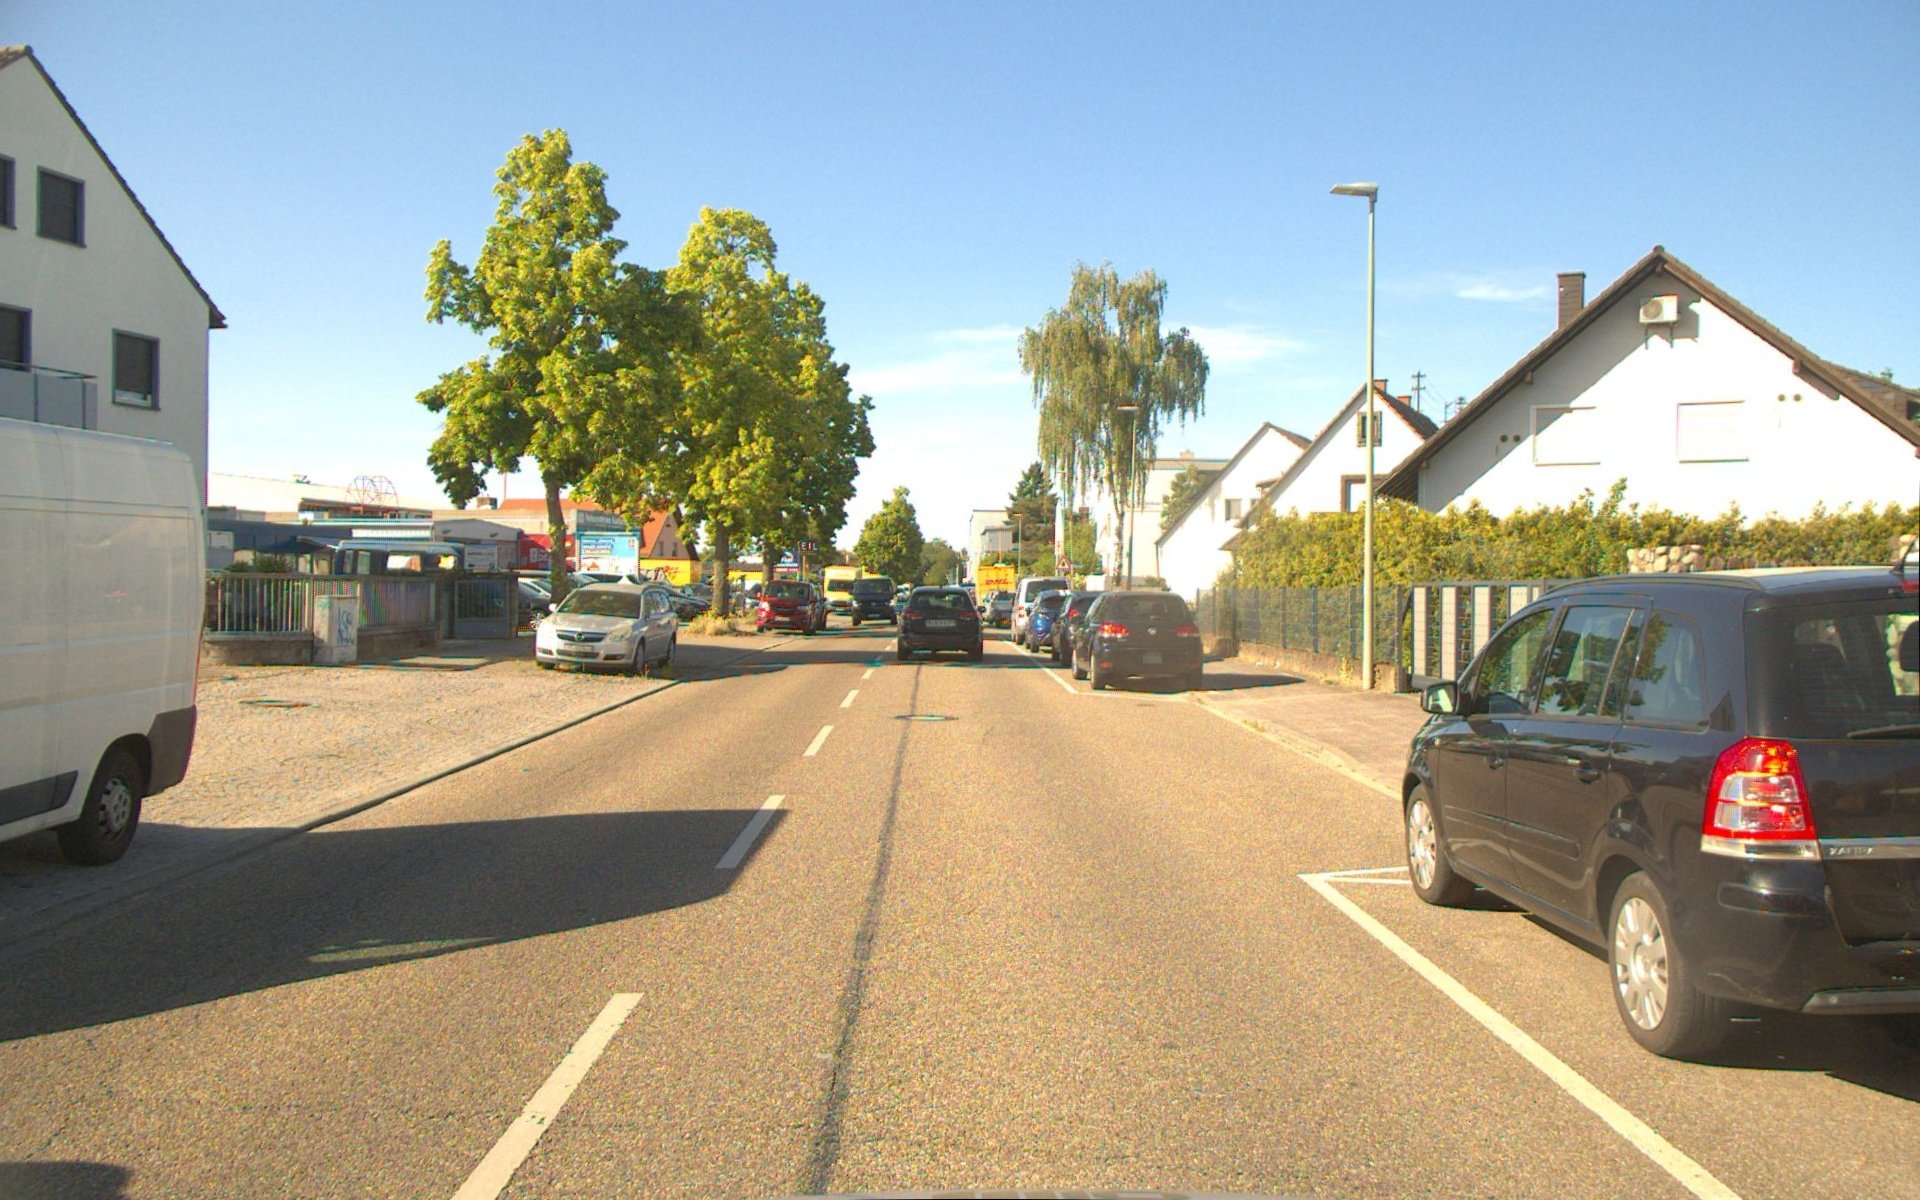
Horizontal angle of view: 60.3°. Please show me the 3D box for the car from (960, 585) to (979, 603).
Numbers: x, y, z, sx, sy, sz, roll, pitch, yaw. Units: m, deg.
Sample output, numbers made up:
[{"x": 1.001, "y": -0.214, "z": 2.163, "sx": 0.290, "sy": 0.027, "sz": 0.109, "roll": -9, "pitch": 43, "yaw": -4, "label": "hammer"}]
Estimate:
[{"x": 0.988, "y": -0.622, "z": 172.802, "sx": 1.880, "sy": 1.857, "sz": 4.079, "roll": 1, "pitch": 0, "yaw": -1, "label": "car"}]

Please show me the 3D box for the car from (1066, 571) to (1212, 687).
[{"x": 2.783, "y": 0.410, "z": 26.419, "sx": 1.740, "sy": 1.688, "sz": 3.814, "roll": 1, "pitch": 0, "yaw": -2, "label": "car"}]

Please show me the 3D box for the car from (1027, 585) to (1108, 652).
[{"x": 2.575, "y": 0.417, "z": 40.293, "sx": 1.684, "sy": 1.531, "sz": 3.563, "roll": 1, "pitch": 0, "yaw": 0, "label": "car"}]

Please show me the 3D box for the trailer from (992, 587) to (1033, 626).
[{"x": 2.146, "y": 0.265, "z": 68.415, "sx": 1.594, "sy": 1.565, "sz": 3.198, "roll": 1, "pitch": 0, "yaw": 0, "label": "trailer"}]

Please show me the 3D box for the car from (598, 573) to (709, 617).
[{"x": -12.608, "y": -0.195, "z": 68.081, "sx": 4.159, "sy": 1.759, "sz": 1.767, "roll": 0, "pitch": 0, "yaw": 5, "label": "car"}]

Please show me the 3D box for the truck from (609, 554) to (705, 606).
[{"x": -19.835, "y": -1.304, "z": 108.310, "sx": 5.548, "sy": 3.174, "sz": 2.525, "roll": 2, "pitch": 0, "yaw": 10, "label": "truck"}]

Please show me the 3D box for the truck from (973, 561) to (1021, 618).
[{"x": 2.014, "y": -0.587, "z": 92.527, "sx": 2.354, "sy": 2.988, "sz": 7.015, "roll": -2, "pitch": 0, "yaw": -1, "label": "truck"}]

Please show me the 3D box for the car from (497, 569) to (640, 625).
[{"x": -12.627, "y": -0.097, "z": 53.531, "sx": 4.160, "sy": 1.783, "sz": 1.766, "roll": 0, "pitch": 0, "yaw": 2, "label": "car"}]

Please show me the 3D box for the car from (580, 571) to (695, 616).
[{"x": -12.819, "y": -0.255, "z": 65.935, "sx": 4.159, "sy": 1.759, "sz": 1.767, "roll": 0, "pitch": 0, "yaw": 5, "label": "car"}]

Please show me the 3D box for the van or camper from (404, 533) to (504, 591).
[{"x": -25.007, "y": -1.828, "z": 82.091, "sx": 2.118, "sy": 2.762, "sz": 6.275, "roll": 1, "pitch": 0, "yaw": 10, "label": "van or camper"}]

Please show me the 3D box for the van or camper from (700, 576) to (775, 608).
[{"x": -14.449, "y": -0.542, "z": 107.637, "sx": 4.447, "sy": 2.049, "sz": 2.252, "roll": 0, "pitch": 0, "yaw": 6, "label": "van or camper"}]

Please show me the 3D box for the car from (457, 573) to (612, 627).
[{"x": -12.766, "y": -0.020, "z": 49.727, "sx": 4.159, "sy": 1.568, "sz": 1.767, "roll": 0, "pitch": 1, "yaw": 4, "label": "car"}]

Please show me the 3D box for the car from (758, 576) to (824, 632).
[{"x": -5.742, "y": 0.127, "z": 56.587, "sx": 1.767, "sy": 1.783, "sz": 4.341, "roll": 2, "pitch": 0, "yaw": 0, "label": "car"}]

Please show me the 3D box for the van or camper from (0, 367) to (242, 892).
[{"x": -5.644, "y": 0.097, "z": 7.767, "sx": 2.080, "sy": 2.533, "sz": 5.554, "roll": 4, "pitch": 0, "yaw": -1, "label": "van or camper"}]

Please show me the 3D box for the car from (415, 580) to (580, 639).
[{"x": -13.170, "y": 0.271, "z": 47.231, "sx": 4.159, "sy": 1.569, "sz": 1.767, "roll": 1, "pitch": 0, "yaw": 5, "label": "car"}]

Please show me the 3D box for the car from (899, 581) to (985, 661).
[{"x": -0.334, "y": 0.395, "z": 34.192, "sx": 1.676, "sy": 1.559, "sz": 3.687, "roll": 0, "pitch": 1, "yaw": 0, "label": "car"}]

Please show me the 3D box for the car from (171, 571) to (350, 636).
[{"x": -17.722, "y": 0.100, "z": 41.949, "sx": 3.897, "sy": 1.607, "sz": 1.680, "roll": 0, "pitch": -2, "yaw": 12, "label": "car"}]

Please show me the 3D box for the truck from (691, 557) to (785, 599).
[{"x": -14.831, "y": -1.450, "z": 110.566, "sx": 5.795, "sy": 2.612, "sz": 2.226, "roll": 2, "pitch": 0, "yaw": 11, "label": "truck"}]

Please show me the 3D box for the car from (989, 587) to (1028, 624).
[{"x": 2.193, "y": 0.208, "z": 73.971, "sx": 1.639, "sy": 1.569, "sz": 4.044, "roll": 1, "pitch": 0, "yaw": 3, "label": "car"}]

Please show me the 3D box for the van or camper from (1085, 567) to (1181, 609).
[{"x": 10.933, "y": -0.733, "z": 104.620, "sx": 5.743, "sy": 2.586, "sz": 2.270, "roll": 0, "pitch": 0, "yaw": -27, "label": "van or camper"}]

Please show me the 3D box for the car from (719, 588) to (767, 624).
[{"x": -10.427, "y": 0.297, "z": 79.769, "sx": 1.824, "sy": 1.618, "sz": 4.274, "roll": 1, "pitch": -2, "yaw": -1, "label": "car"}]

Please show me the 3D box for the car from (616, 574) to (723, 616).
[{"x": -12.365, "y": -0.204, "z": 70.611, "sx": 4.159, "sy": 1.759, "sz": 1.767, "roll": 0, "pitch": 0, "yaw": 5, "label": "car"}]

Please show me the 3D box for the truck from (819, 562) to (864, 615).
[{"x": -7.301, "y": -0.699, "z": 102.340, "sx": 2.354, "sy": 3.035, "sz": 7.243, "roll": 2, "pitch": 0, "yaw": -2, "label": "truck"}]

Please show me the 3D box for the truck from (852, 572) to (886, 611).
[{"x": -7.441, "y": -0.677, "z": 135.604, "sx": 2.354, "sy": 3.035, "sz": 6.373, "roll": 2, "pitch": 0, "yaw": 0, "label": "truck"}]

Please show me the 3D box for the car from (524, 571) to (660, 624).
[{"x": -12.525, "y": -0.083, "z": 56.422, "sx": 4.159, "sy": 1.759, "sz": 1.767, "roll": 0, "pitch": 0, "yaw": 5, "label": "car"}]

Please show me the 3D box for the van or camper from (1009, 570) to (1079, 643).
[{"x": 2.324, "y": 0.172, "z": 46.493, "sx": 1.684, "sy": 1.923, "sz": 4.179, "roll": 1, "pitch": 0, "yaw": 0, "label": "van or camper"}]

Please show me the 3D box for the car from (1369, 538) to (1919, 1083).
[{"x": 3.207, "y": 0.649, "z": 7.314, "sx": 1.739, "sy": 1.688, "sz": 4.304, "roll": 1, "pitch": 0, "yaw": 0, "label": "car"}]

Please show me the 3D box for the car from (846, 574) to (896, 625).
[{"x": -3.790, "y": -0.024, "z": 71.100, "sx": 1.855, "sy": 2.067, "sz": 4.817, "roll": -1, "pitch": 0, "yaw": 0, "label": "car"}]

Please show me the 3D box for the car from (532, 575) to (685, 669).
[{"x": -6.098, "y": 0.340, "z": 29.122, "sx": 1.652, "sy": 1.460, "sz": 4.209, "roll": 3, "pitch": 1, "yaw": 1, "label": "car"}]

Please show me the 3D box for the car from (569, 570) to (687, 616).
[{"x": -12.771, "y": -0.274, "z": 63.706, "sx": 4.161, "sy": 1.759, "sz": 1.766, "roll": 0, "pitch": 0, "yaw": 1, "label": "car"}]

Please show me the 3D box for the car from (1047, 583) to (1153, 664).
[{"x": 2.794, "y": 0.446, "z": 33.757, "sx": 1.684, "sy": 1.531, "sz": 3.905, "roll": 1, "pitch": 0, "yaw": -2, "label": "car"}]

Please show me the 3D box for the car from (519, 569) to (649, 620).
[{"x": -13.348, "y": -0.188, "z": 58.801, "sx": 4.159, "sy": 1.759, "sz": 1.767, "roll": 0, "pitch": 0, "yaw": 5, "label": "car"}]

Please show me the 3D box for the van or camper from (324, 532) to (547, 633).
[{"x": -13.061, "y": -0.431, "z": 41.309, "sx": 4.788, "sy": 2.361, "sz": 2.245, "roll": 1, "pitch": 0, "yaw": 12, "label": "van or camper"}]
